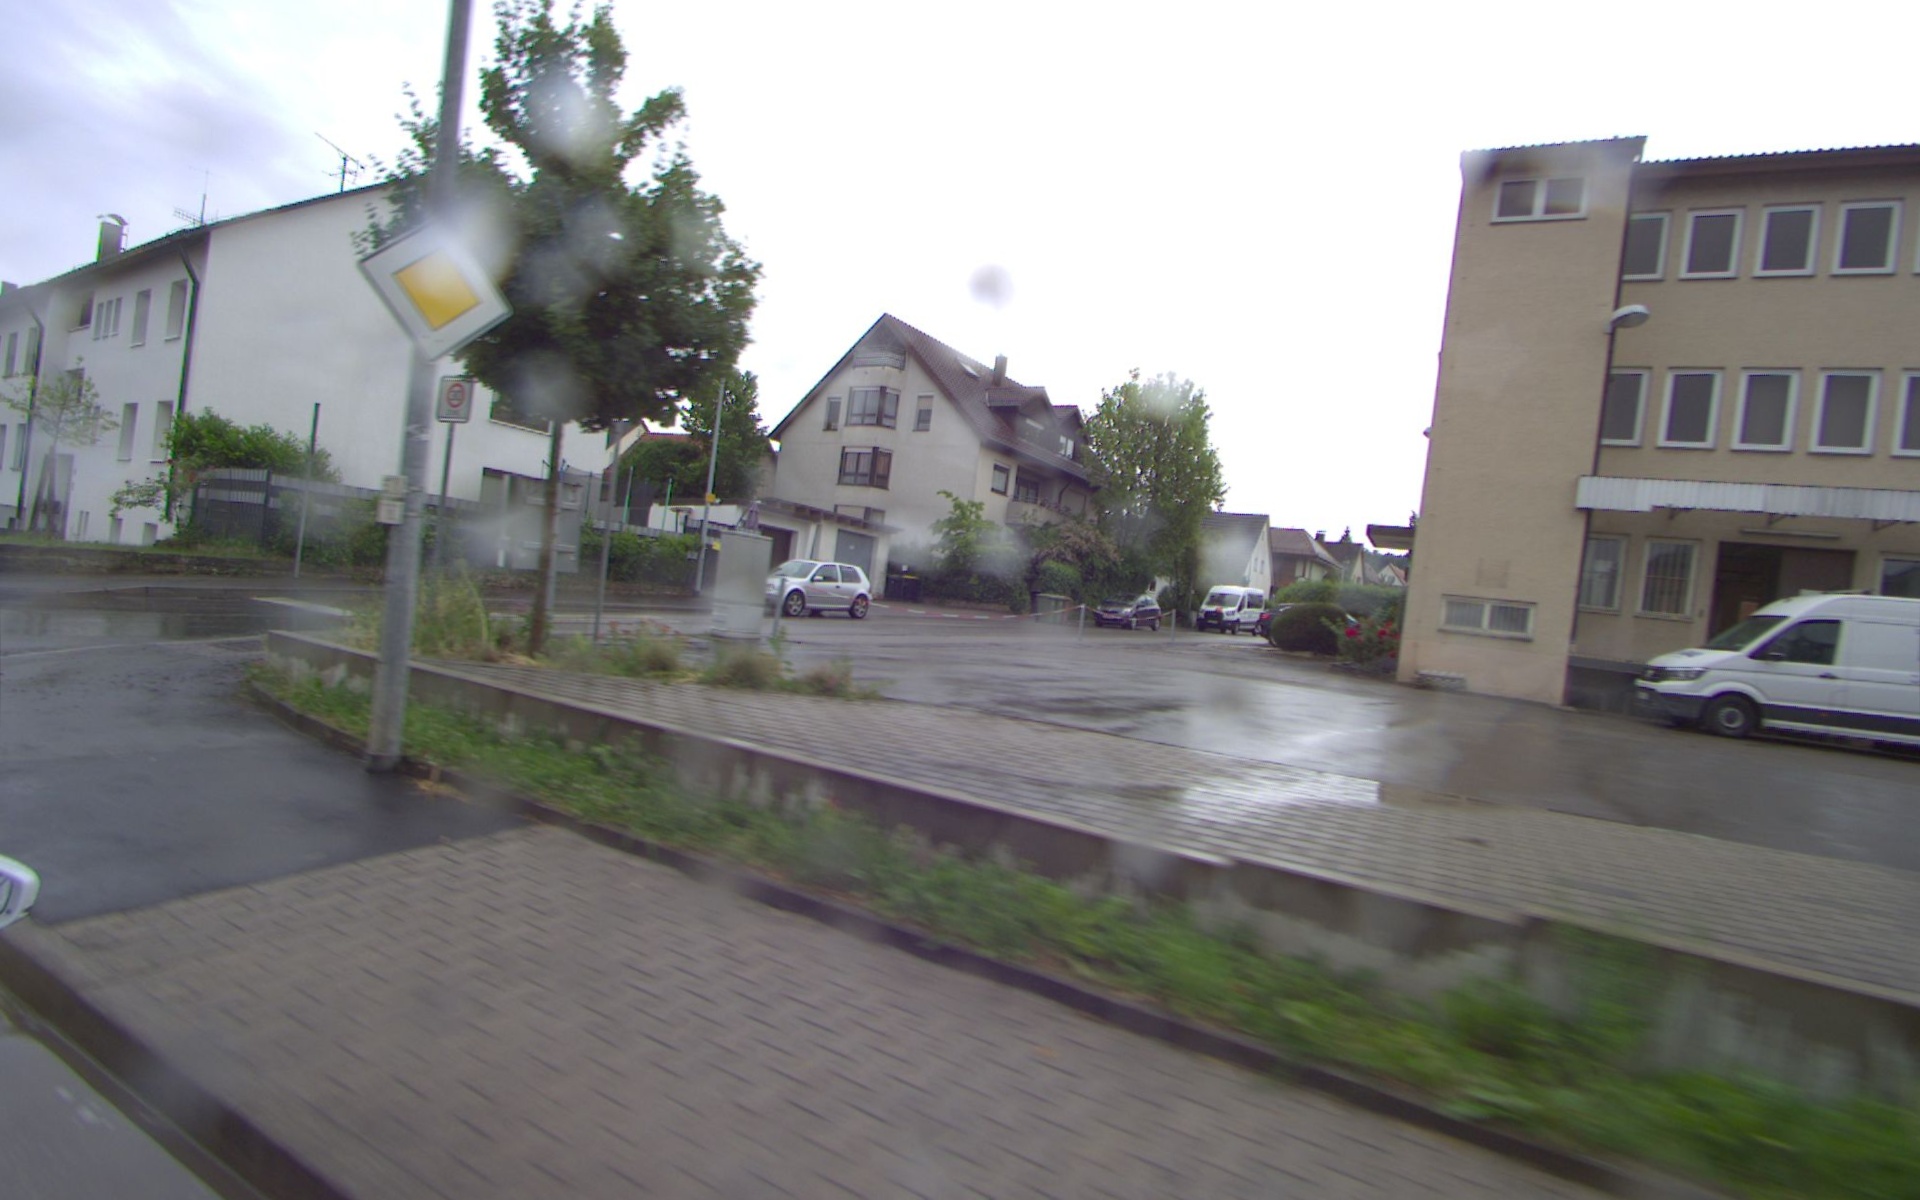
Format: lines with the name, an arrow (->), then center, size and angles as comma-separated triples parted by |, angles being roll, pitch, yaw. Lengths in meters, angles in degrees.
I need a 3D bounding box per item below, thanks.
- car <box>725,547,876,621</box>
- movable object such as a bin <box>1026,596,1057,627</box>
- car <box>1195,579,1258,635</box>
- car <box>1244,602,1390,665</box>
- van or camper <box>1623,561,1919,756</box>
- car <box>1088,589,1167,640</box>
car -> -3.983, -0.364, 25.613 | 1.582, 1.473, 3.769 | 6, 0, 33
movable object such as a bin -> 3.038, 0.429, 37.652 | 0.819, 0.990, 0.658 | 8, 0, 32
car -> 13.651, 0.409, 51.427 | 1.950, 2.293, 3.997 | 8, -1, 29
car -> 11.806, 1.092, 33.333 | 4.162, 1.397, 1.701 | 8, -1, 33
van or camper -> 14.985, 1.132, 16.333 | 6.480, 2.566, 2.001 | 8, -1, 19
car -> 7.016, 0.625, 41.893 | 1.848, 1.570, 3.997 | 8, -1, 29
